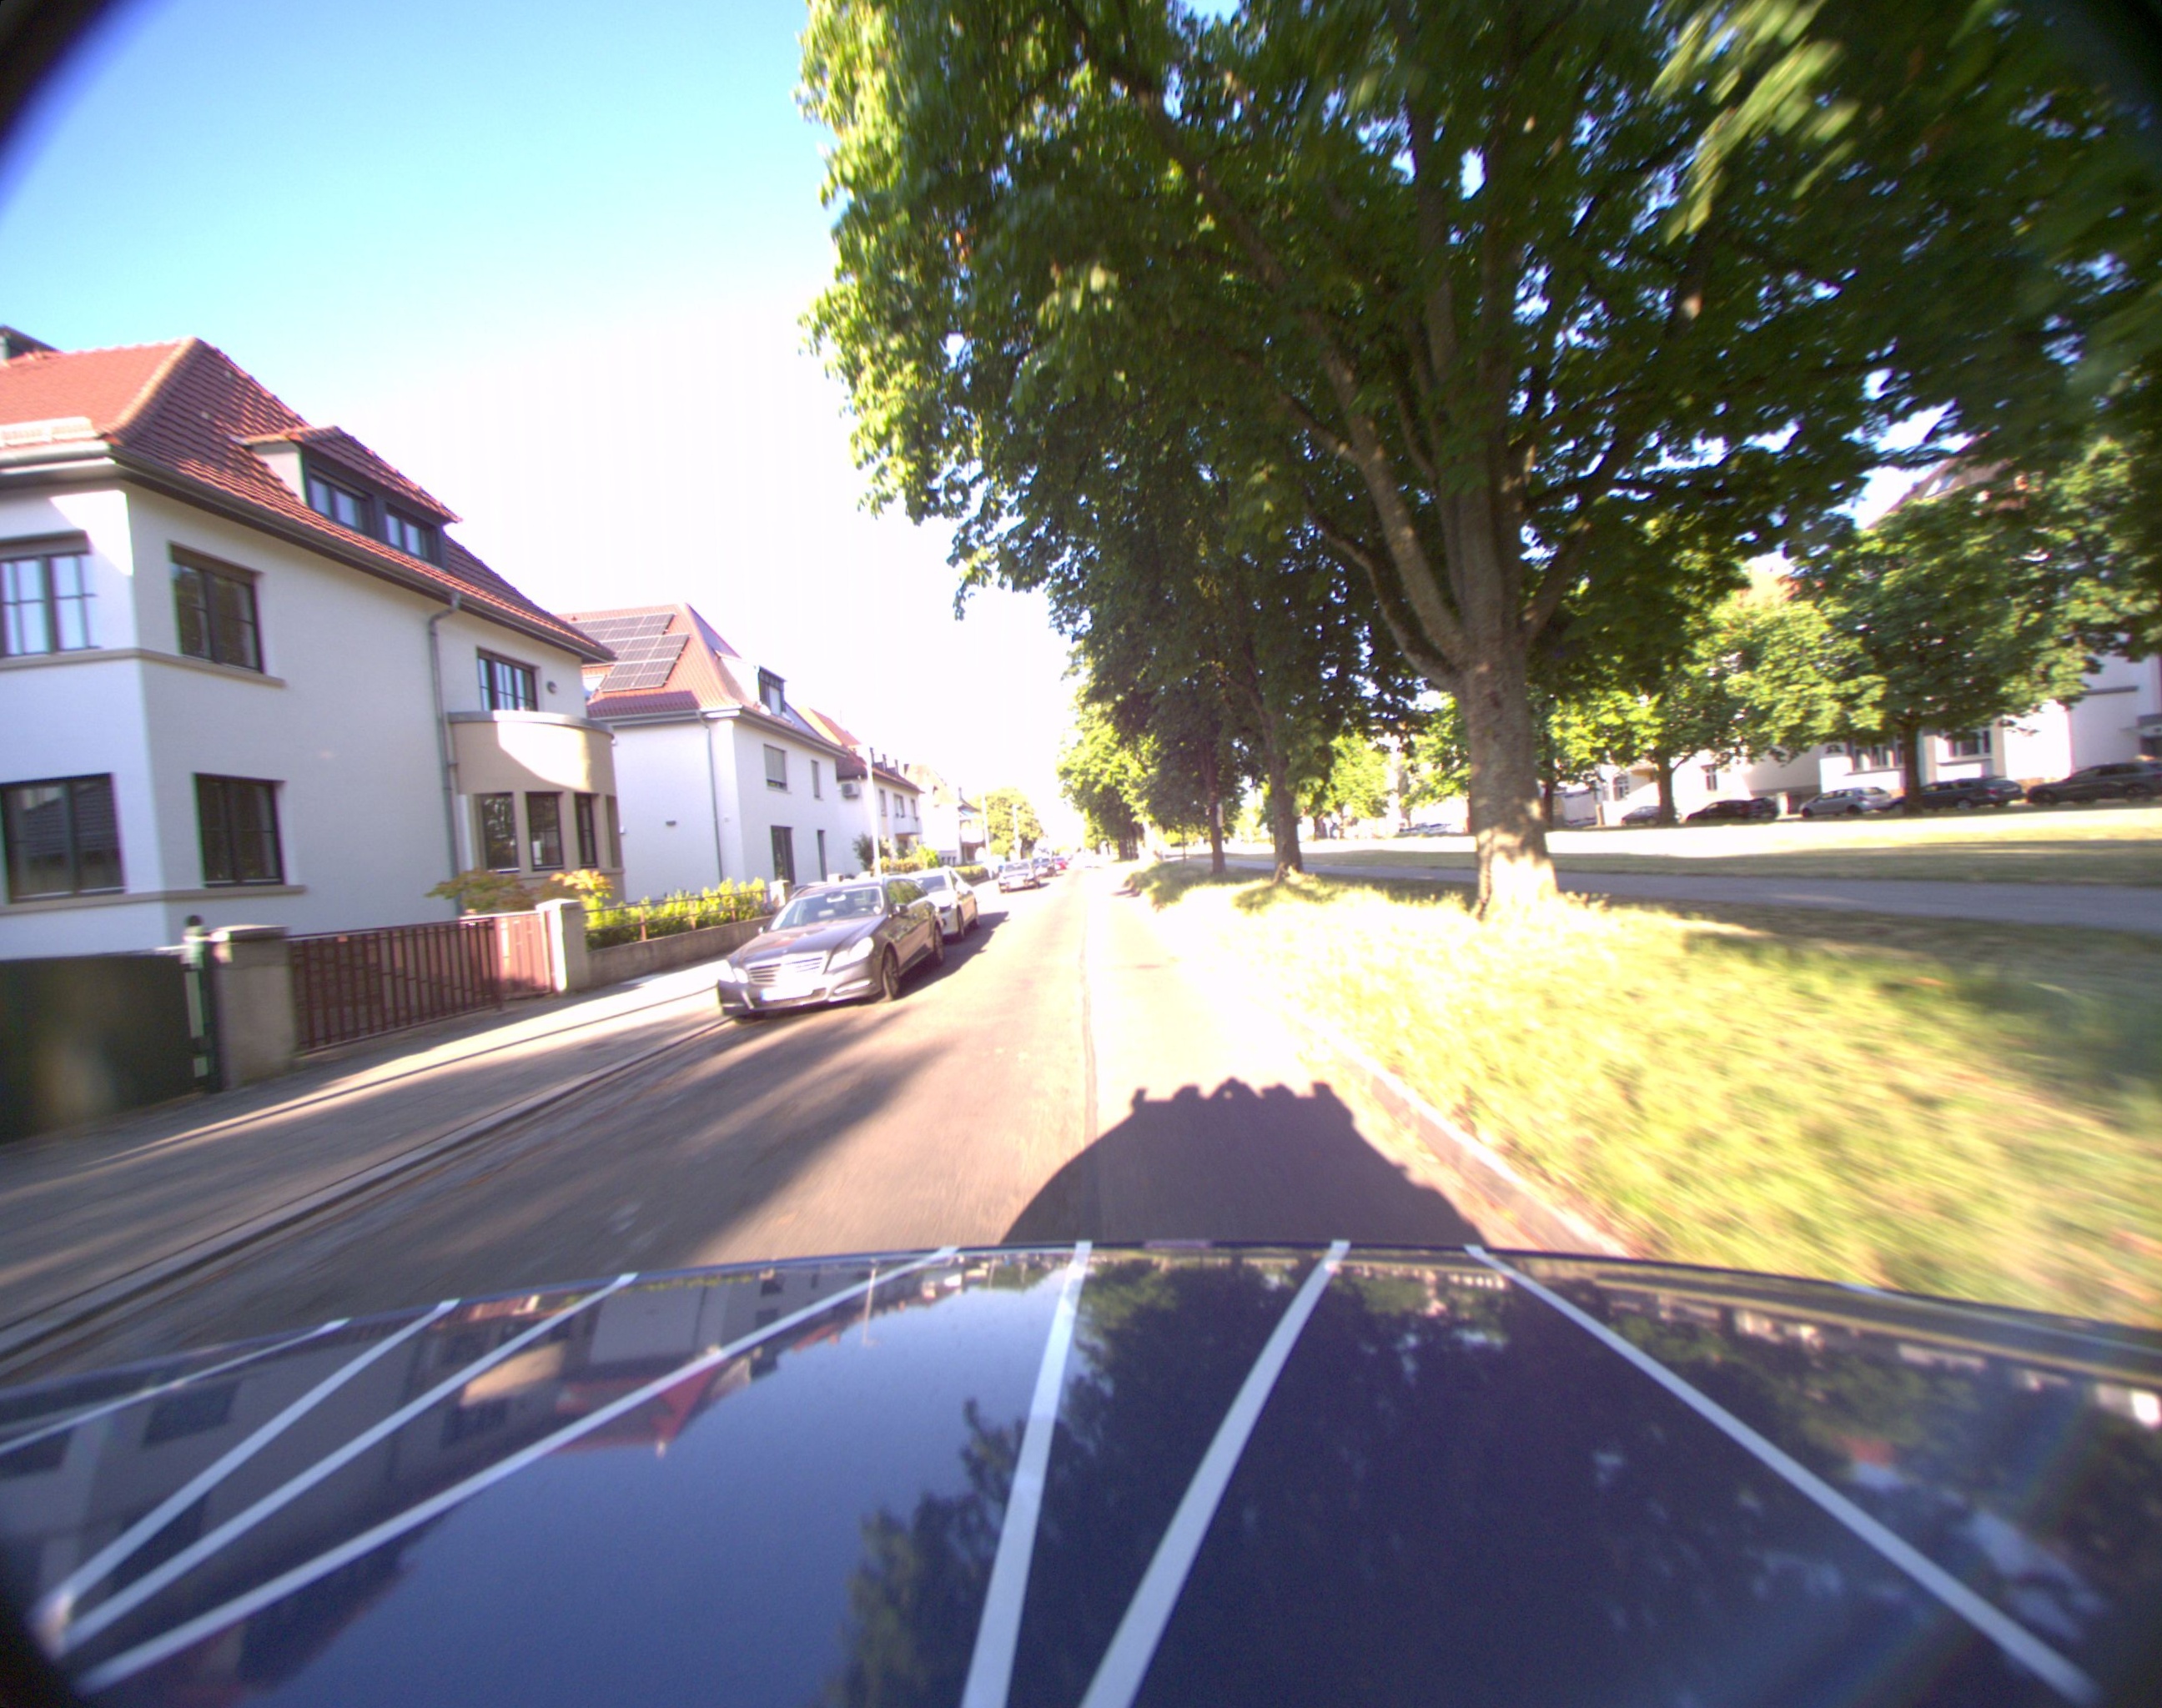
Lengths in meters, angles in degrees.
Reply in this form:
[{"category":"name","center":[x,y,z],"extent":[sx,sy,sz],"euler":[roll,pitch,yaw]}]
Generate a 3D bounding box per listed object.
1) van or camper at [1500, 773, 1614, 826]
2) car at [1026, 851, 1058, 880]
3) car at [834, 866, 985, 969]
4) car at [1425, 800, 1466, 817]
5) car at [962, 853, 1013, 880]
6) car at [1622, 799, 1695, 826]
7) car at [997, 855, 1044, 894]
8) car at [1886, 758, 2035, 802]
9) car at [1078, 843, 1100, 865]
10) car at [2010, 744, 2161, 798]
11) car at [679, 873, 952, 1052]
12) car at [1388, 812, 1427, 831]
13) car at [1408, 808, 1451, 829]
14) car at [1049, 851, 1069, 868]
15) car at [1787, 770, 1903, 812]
[{"category":"van or camper","center":[34.487,-3.811,55.488],"extent":[3.262,3.092,7.896],"euler":[-5,0,1]},{"category":"car","center":[-2.687,0.760,53.652],"extent":[1.862,1.710,4.467],"euler":[-8,0,-1]},{"category":"car","center":[-3.333,1.159,15.759],"extent":[1.999,1.455,4.549],"euler":[-9,0,-1]},{"category":"car","center":[40.391,-5.060,84.334],"extent":[1.999,1.445,4.874],"euler":[-5,0,-2]},{"category":"car","center":[-8.006,1.021,65.249],"extent":[3.998,1.917,1.999],"euler":[-5,0,-3]},{"category":"car","center":[40.238,-2.878,53.092],"extent":[1.998,1.455,4.000],"euler":[-5,0,0]},{"category":"car","center":[-2.817,0.915,36.203],"extent":[1.784,1.490,4.397],"euler":[-8,0,-1]},{"category":"car","center":[40.095,-3.336,34.824],"extent":[1.998,1.421,4.169],"euler":[-6,0,2]},{"category":"car","center":[0.857,-0.029,80.916],"extent":[1.998,2.002,4.000],"euler":[-6,1,1]},{"category":"car","center":[39.745,-3.238,29.412],"extent":[1.999,1.643,4.428],"euler":[-5,0,-1]},{"category":"car","center":[-3.081,1.164,10.011],"extent":[1.784,1.454,4.593],"euler":[-7,0,0]},{"category":"car","center":[34.636,-3.471,80.840],"extent":[1.998,1.680,4.875],"euler":[-5,0,1]},{"category":"car","center":[34.509,-3.514,75.383],"extent":[1.998,1.680,4.875],"euler":[-5,0,1]},{"category":"car","center":[-2.315,0.557,79.603],"extent":[1.824,1.486,4.223],"euler":[-5,0,0]},{"category":"car","center":[39.868,-3.239,39.805],"extent":[1.998,1.724,4.000],"euler":[-5,0,2]}]
